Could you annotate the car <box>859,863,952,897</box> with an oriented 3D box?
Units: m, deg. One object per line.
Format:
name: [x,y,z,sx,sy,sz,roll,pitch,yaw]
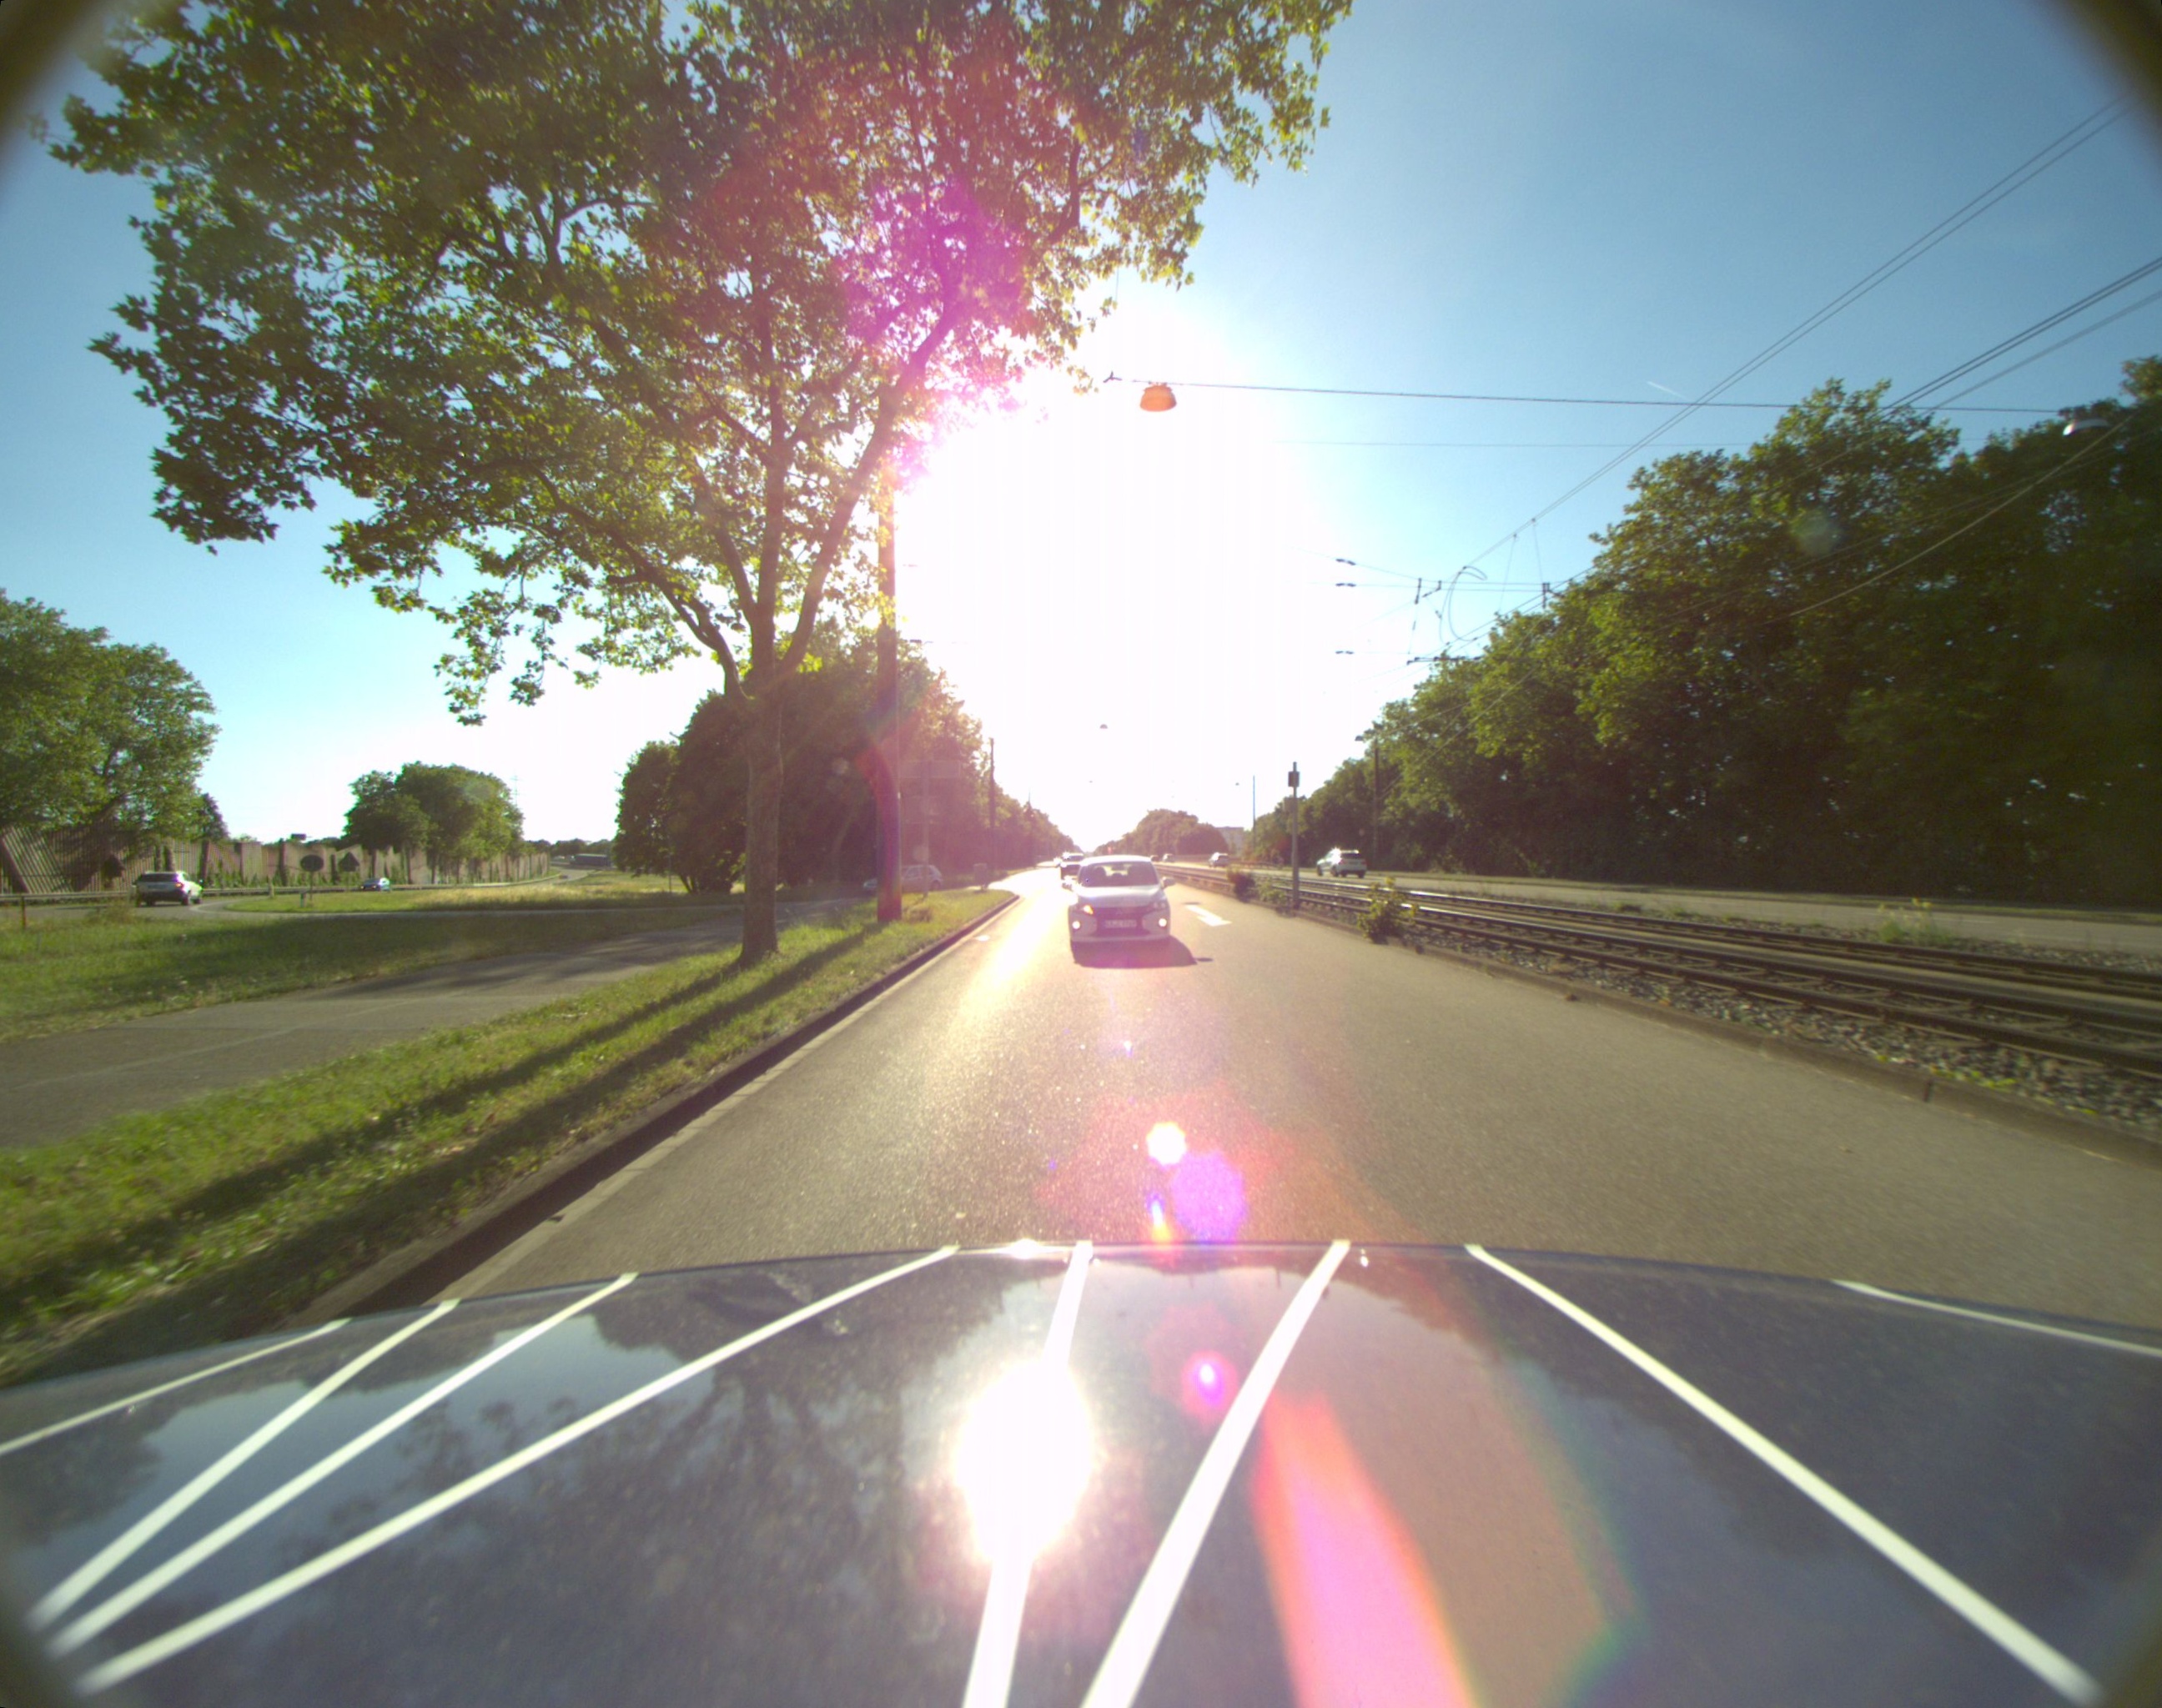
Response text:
car: [-8.302,1.200,36.259,1.690,1.409,4.143,-1,1,37]

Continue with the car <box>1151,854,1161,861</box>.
car: [15.504,0.760,157.309,1.661,1.424,4.501,1,1,0]

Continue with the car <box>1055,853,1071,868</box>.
car: [-2.310,0.829,96.844,1.886,1.790,3.644,-2,0,-2]

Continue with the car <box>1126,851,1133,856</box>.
car: [14.775,-0.052,233.092,1.713,1.571,4.800,0,1,-1]

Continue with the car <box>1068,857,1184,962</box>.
car: [0.693,0.847,13.418,1.709,1.503,3.862,-2,1,0]

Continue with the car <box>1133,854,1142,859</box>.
car: [15.275,0.678,204.653,1.759,1.406,4.876,2,1,-2]

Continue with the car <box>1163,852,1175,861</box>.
car: [15.964,0.442,137.942,1.696,1.547,4.190,1,1,-1]

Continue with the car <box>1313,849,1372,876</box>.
car: [17.249,0.517,50.422,1.968,1.697,4.942,1,1,-3]

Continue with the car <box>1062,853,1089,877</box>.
car: [-0.332,0.711,51.232,1.709,1.512,3.844,-2,1,0]

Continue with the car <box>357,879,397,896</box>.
car: [-72.052,3.403,77.816,1.801,1.432,4.215,-2,1,-25]

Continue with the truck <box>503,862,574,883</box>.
truck: [-102.855,3.518,144.251,10.627,3.474,2.645,3,-1,-29]

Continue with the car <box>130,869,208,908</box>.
car: [-46.126,1.692,38.520,1.818,1.762,3.852,-2,1,-40]

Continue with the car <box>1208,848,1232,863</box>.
car: [16.775,0.143,91.977,1.851,1.724,4.930,2,1,-2]
